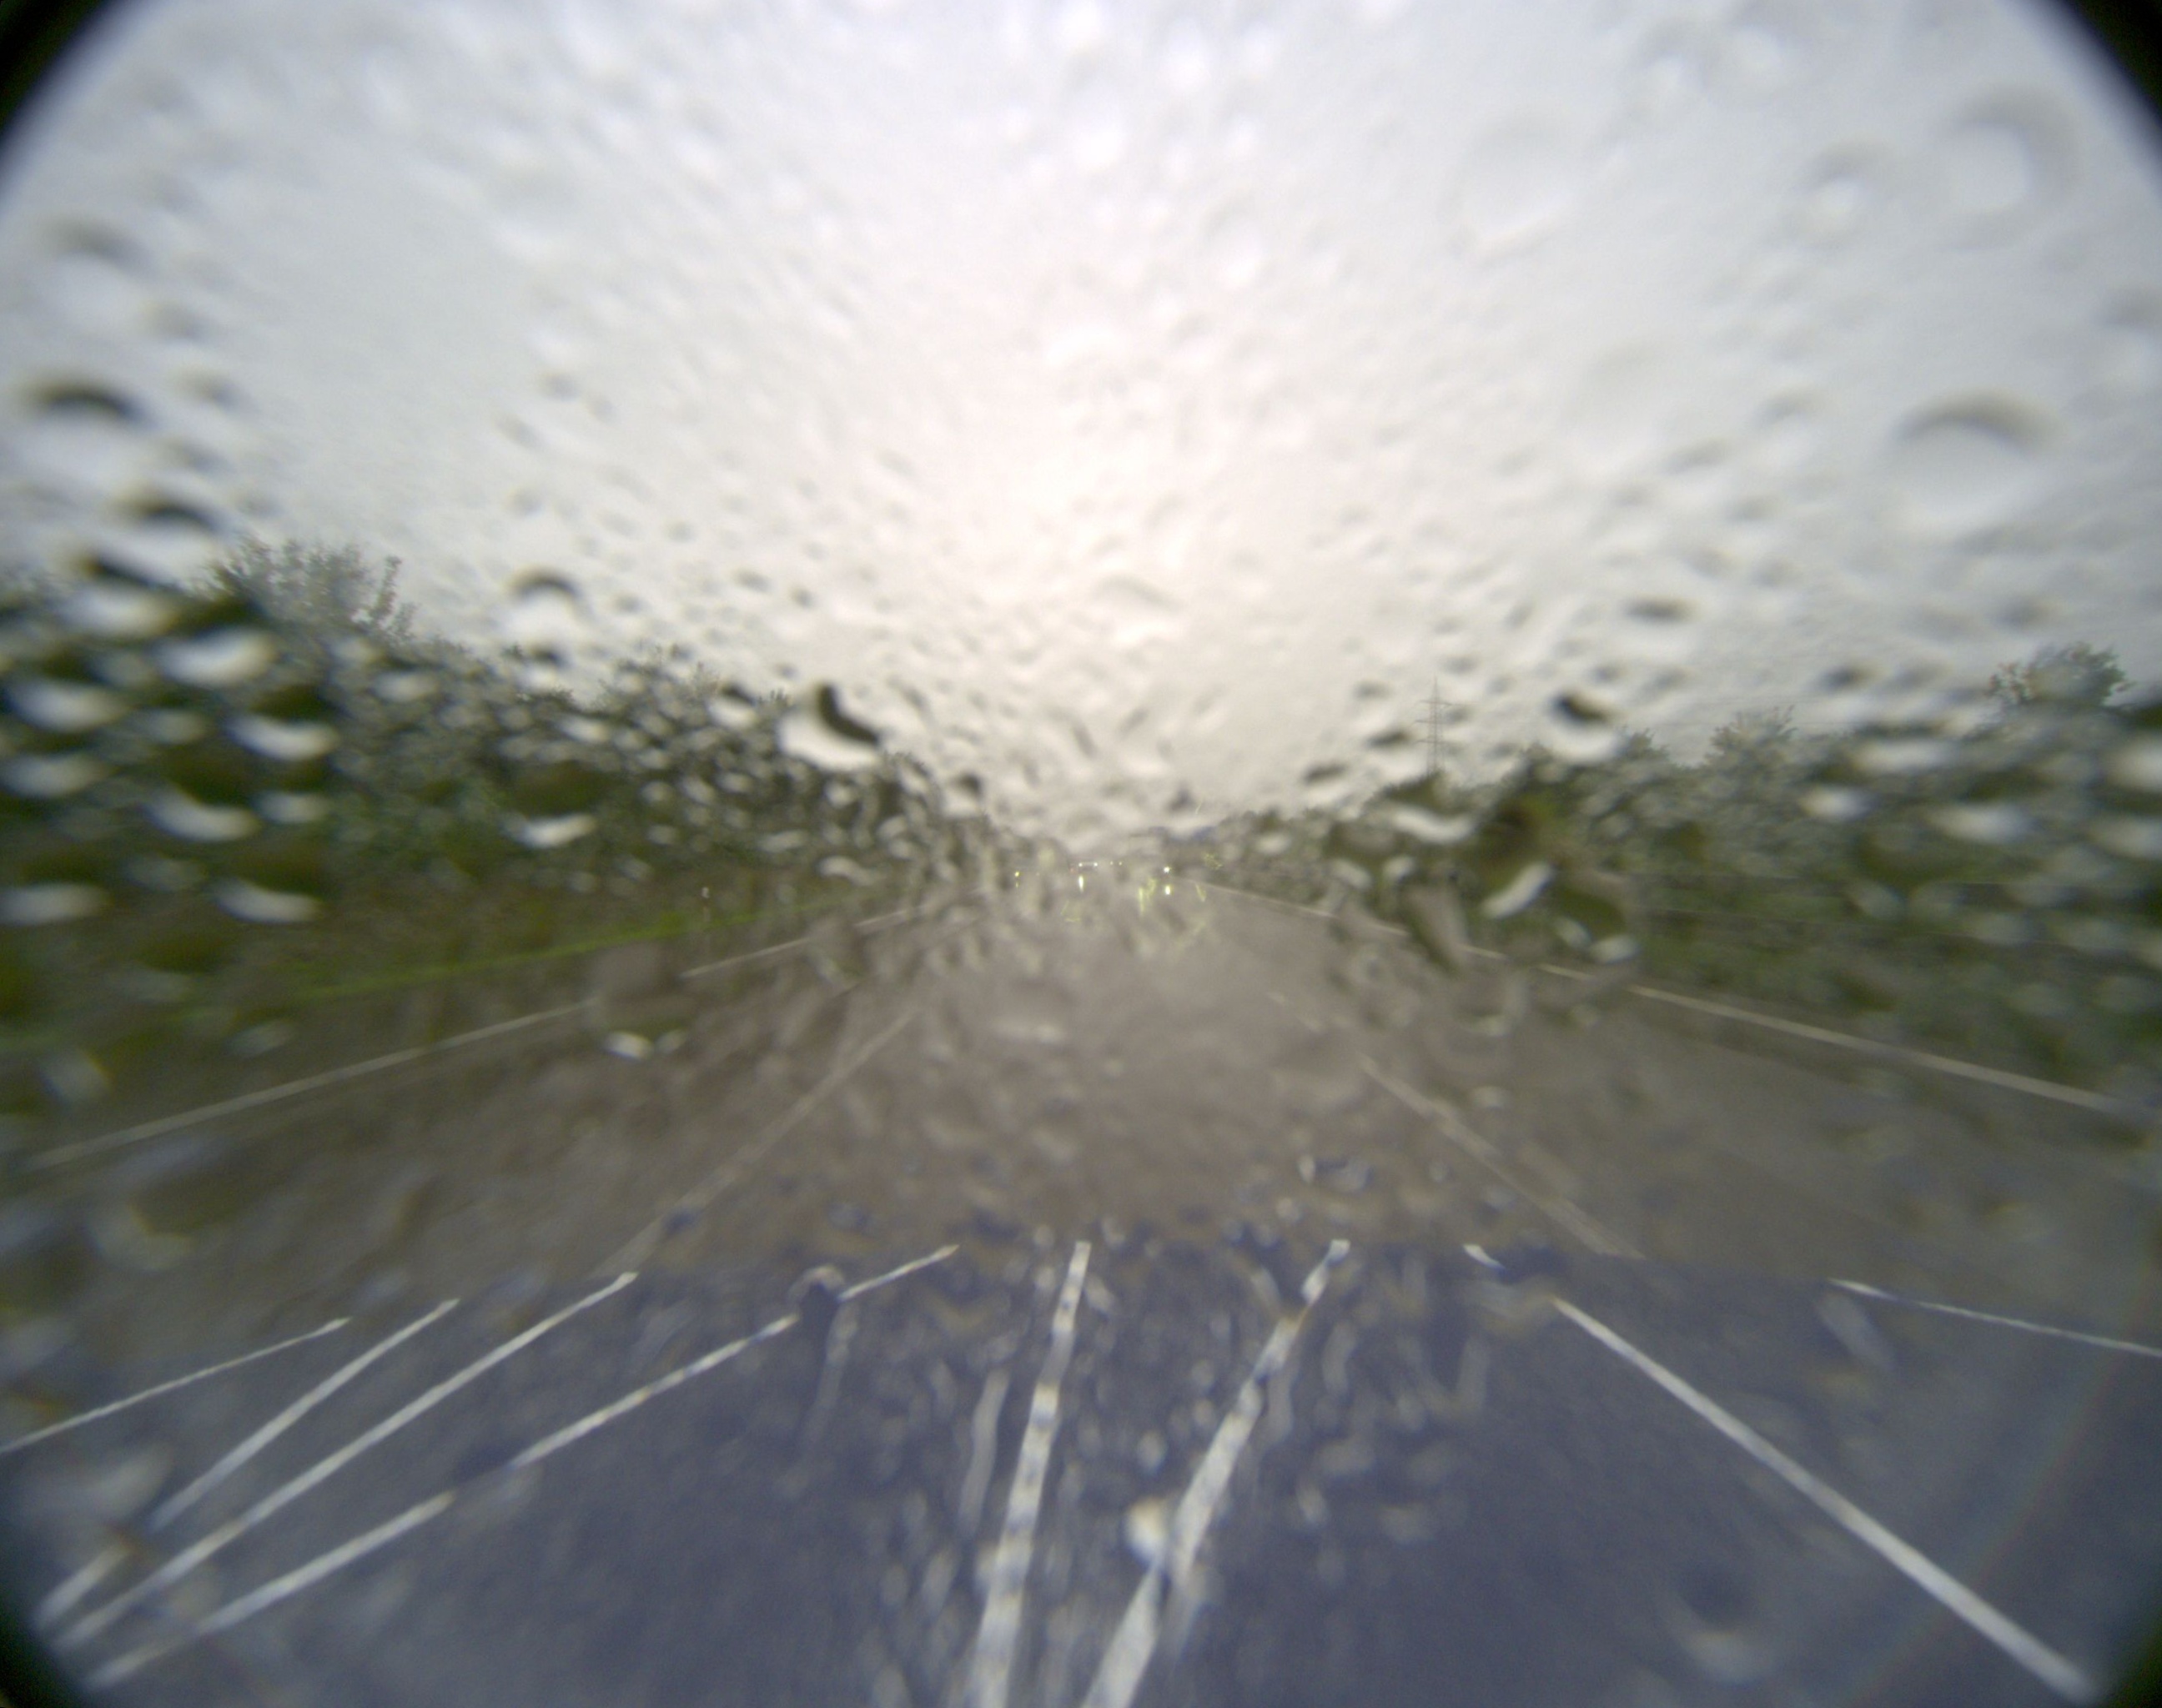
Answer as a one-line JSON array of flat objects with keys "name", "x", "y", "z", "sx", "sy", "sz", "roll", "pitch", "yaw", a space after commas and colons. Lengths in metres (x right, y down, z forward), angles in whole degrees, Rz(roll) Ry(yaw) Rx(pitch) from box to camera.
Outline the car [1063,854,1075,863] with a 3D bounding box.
[{"name": "car", "x": -1.893, "y": 0.695, "z": 118.309, "sx": 1.753, "sy": 1.205, "sz": 3.999, "roll": -2, "pitch": 1, "yaw": 1}]

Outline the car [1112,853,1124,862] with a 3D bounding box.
[{"name": "car", "x": 5.879, "y": 0.532, "z": 121.888, "sx": 1.753, "sy": 1.369, "sz": 3.999, "roll": -2, "pitch": 1, "yaw": 1}]

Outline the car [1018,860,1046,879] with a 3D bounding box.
[{"name": "car", "x": -3.605, "y": 1.110, "z": 56.620, "sx": 1.753, "sy": 1.205, "sz": 3.999, "roll": -2, "pitch": 1, "yaw": 1}]

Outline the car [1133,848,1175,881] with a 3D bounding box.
[{"name": "car", "x": 4.202, "y": 0.582, "z": 44.326, "sx": 2.047, "sy": 1.763, "sz": 4.500, "roll": -1, "pitch": 1, "yaw": 1}]

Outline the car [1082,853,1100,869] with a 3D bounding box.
[{"name": "car", "x": 1.041, "y": 0.705, "z": 76.869, "sx": 1.753, "sy": 1.406, "sz": 3.999, "roll": -2, "pitch": 1, "yaw": 1}]
